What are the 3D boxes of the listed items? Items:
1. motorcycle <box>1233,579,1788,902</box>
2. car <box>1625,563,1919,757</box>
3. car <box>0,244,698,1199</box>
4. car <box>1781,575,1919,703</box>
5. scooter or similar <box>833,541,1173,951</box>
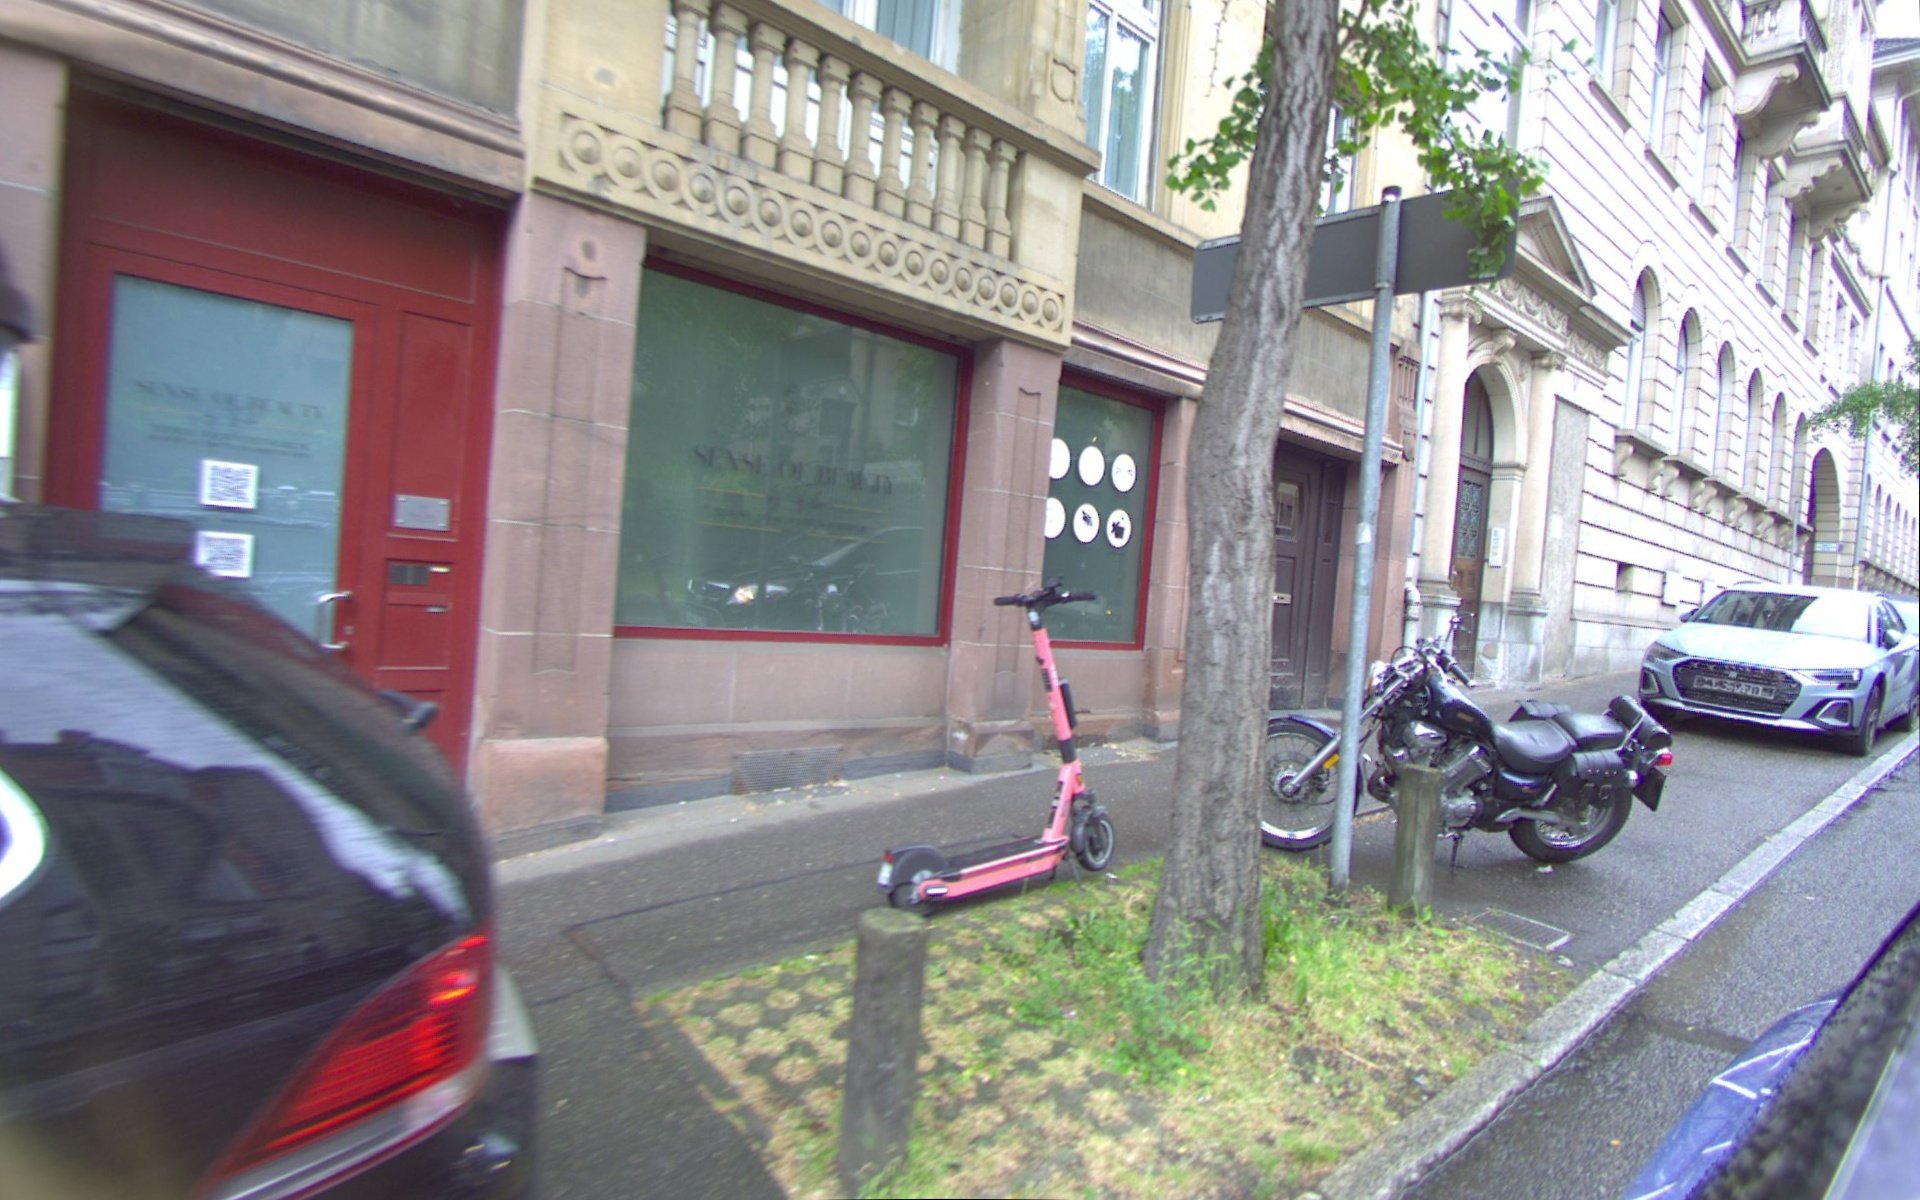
[{"bbox_3d":[2.535,0.635,4.797,2.232,1.258,0.525,5,4,-2],"label":"motorcycle"},{"bbox_3d":[8.502,0.464,10.250,3.967,1.469,1.795,0,5,-40],"label":"car"},{"bbox_3d":[-2.450,0.447,0.588,4.026,1.670,1.765,0,7,-40],"label":"car"},{"bbox_3d":[12.575,0.469,13.788,3.125,1.466,1.496,0,5,-40],"label":"car"},{"bbox_3d":[0.189,0.469,3.918,1.182,1.334,0.594,0,3,-41],"label":"scooter or similar"}]
